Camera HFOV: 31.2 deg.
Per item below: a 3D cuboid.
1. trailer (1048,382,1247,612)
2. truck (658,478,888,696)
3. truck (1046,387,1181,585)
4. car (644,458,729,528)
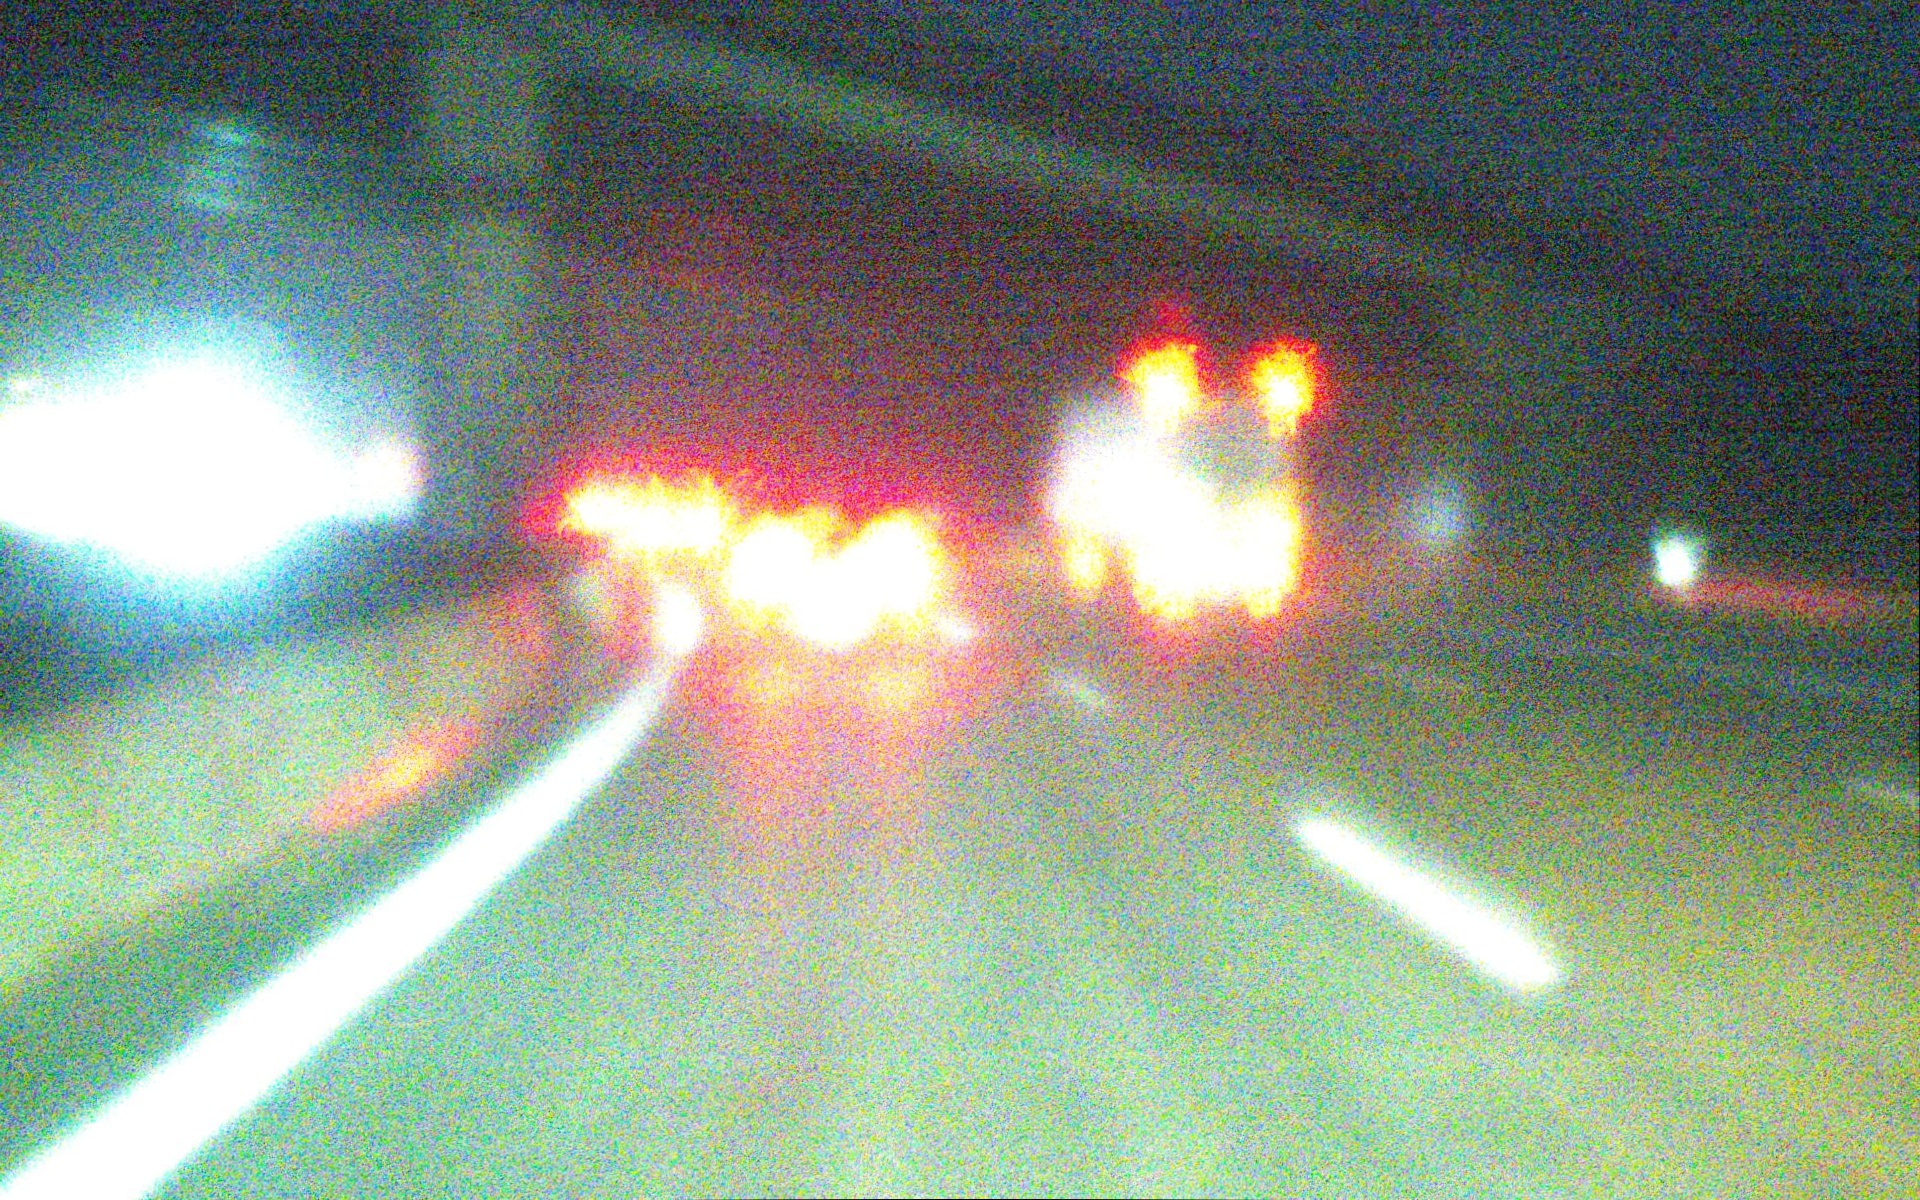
[{"bbox_3d":[3.655,-2.210,70.426,2.739,4.233,13.374,-1,3,-2],"label":"trailer"},{"bbox_3d":[-2.051,-0.250,39.726,2.145,2.070,6.605,5,2,0],"label":"truck"},{"bbox_3d":[3.383,-2.553,76.946,2.710,4.226,5.293,1,2,0],"label":"truck"},{"bbox_3d":[-8.070,-3.123,101.157,1.993,2.007,4.001,0,1,-12],"label":"car"}]
